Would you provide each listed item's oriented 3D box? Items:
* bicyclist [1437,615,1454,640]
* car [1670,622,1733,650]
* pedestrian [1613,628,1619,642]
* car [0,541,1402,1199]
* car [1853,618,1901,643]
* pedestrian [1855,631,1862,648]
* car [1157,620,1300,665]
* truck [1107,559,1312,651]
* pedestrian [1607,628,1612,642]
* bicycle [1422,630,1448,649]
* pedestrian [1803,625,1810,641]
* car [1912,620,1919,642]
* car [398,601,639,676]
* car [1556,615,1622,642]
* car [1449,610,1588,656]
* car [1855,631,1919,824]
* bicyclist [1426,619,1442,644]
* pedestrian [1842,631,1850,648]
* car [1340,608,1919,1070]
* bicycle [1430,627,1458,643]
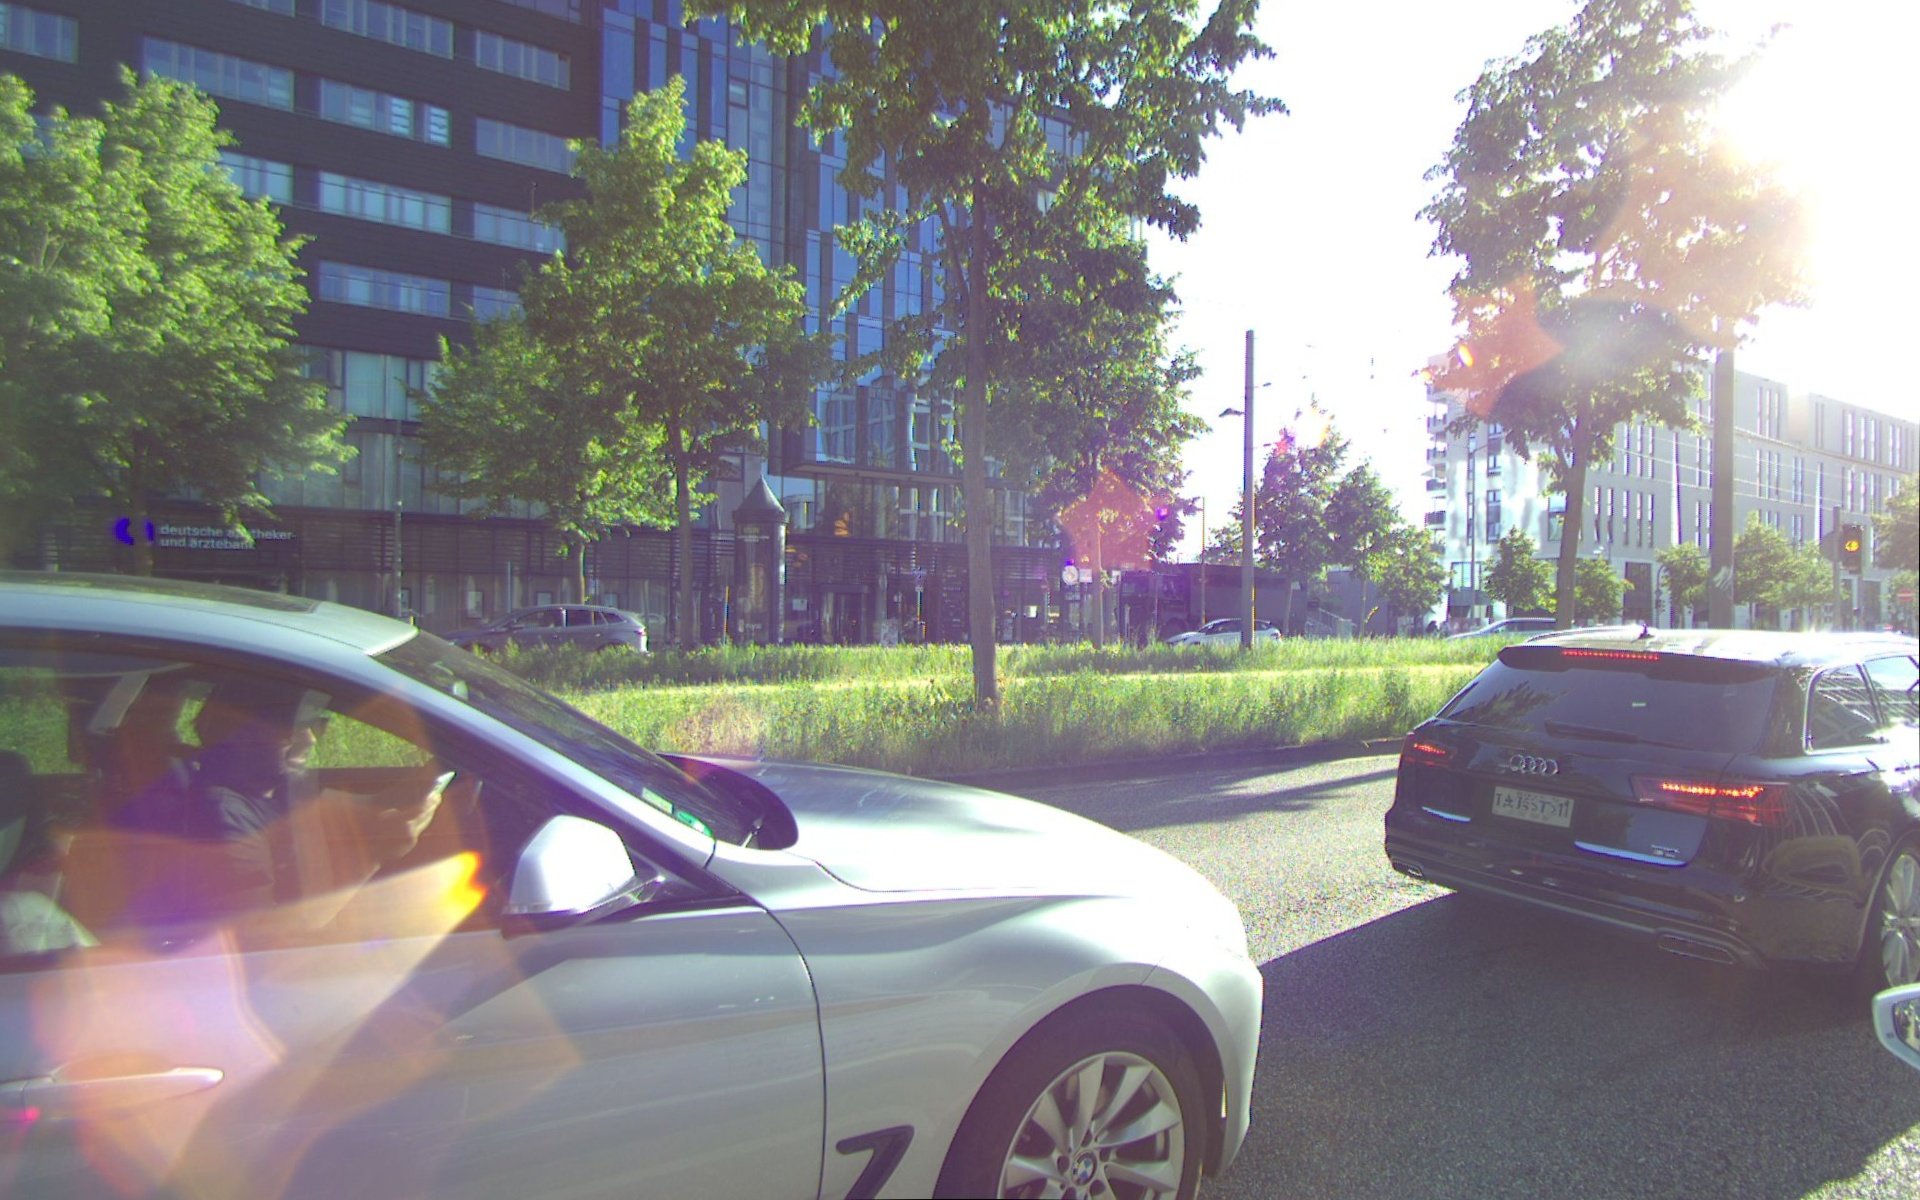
[{"bbox_3d":[30.870,1.766,63.893,0.706,1.549,0.674,1,0,-30],"label":"bicyclist"},{"bbox_3d":[51.474,2.510,69.684,4.319,1.838,1.984,1,-1,-30],"label":"car"},{"bbox_3d":[51.922,2.783,79.524,0.286,1.100,0.252,1,0,-30],"label":"pedestrian"},{"bbox_3d":[-1.319,0.695,2.034,4.509,1.504,1.810,1,-1,-31],"label":"car"},{"bbox_3d":[78.101,2.592,85.531,3.953,2.040,1.984,1,-1,-30],"label":"car"},{"bbox_3d":[95.337,4.231,106.572,0.474,1.767,0.466,1,0,-30],"label":"pedestrian"},{"bbox_3d":[9.316,1.454,35.006,4.482,1.467,1.803,1,-1,-5],"label":"car"},{"bbox_3d":[11.701,0.297,46.502,10.094,3.904,2.877,1,-1,-31],"label":"truck"},{"bbox_3d":[51.586,2.757,79.791,0.257,1.100,0.252,1,0,-30],"label":"pedestrian"},{"bbox_3d":[27.591,2.286,58.331,1.735,1.049,0.475,1,-1,-31],"label":"bicycle"},{"bbox_3d":[79.498,3.085,94.319,0.455,1.457,0.388,1,0,31],"label":"pedestrian"},{"bbox_3d":[90.300,2.878,93.147,3.953,2.040,1.984,1,-1,-30],"label":"car"},{"bbox_3d":[-9.480,0.809,21.740,4.524,1.467,1.787,1,-1,-36],"label":"car"},{"bbox_3d":[37.536,1.683,59.909,3.953,1.540,1.756,1,-1,-30],"label":"car"},{"bbox_3d":[19.906,1.150,35.988,4.132,1.512,1.520,1,-1,19],"label":"car"},{"bbox_3d":[9.357,1.011,8.212,4.288,1.445,1.833,1,-1,-30],"label":"car"},{"bbox_3d":[27.509,1.824,58.285,0.811,1.443,0.475,1,-1,-30],"label":"bicyclist"},{"bbox_3d":[92.163,4.137,104.503,0.474,1.767,0.466,1,0,-30],"label":"pedestrian"},{"bbox_3d":[4.421,0.834,5.378,4.911,1.504,1.864,1,-1,-32],"label":"car"},{"bbox_3d":[30.785,2.250,63.851,1.933,1.001,0.673,1,-1,-31],"label":"bicycle"}]
